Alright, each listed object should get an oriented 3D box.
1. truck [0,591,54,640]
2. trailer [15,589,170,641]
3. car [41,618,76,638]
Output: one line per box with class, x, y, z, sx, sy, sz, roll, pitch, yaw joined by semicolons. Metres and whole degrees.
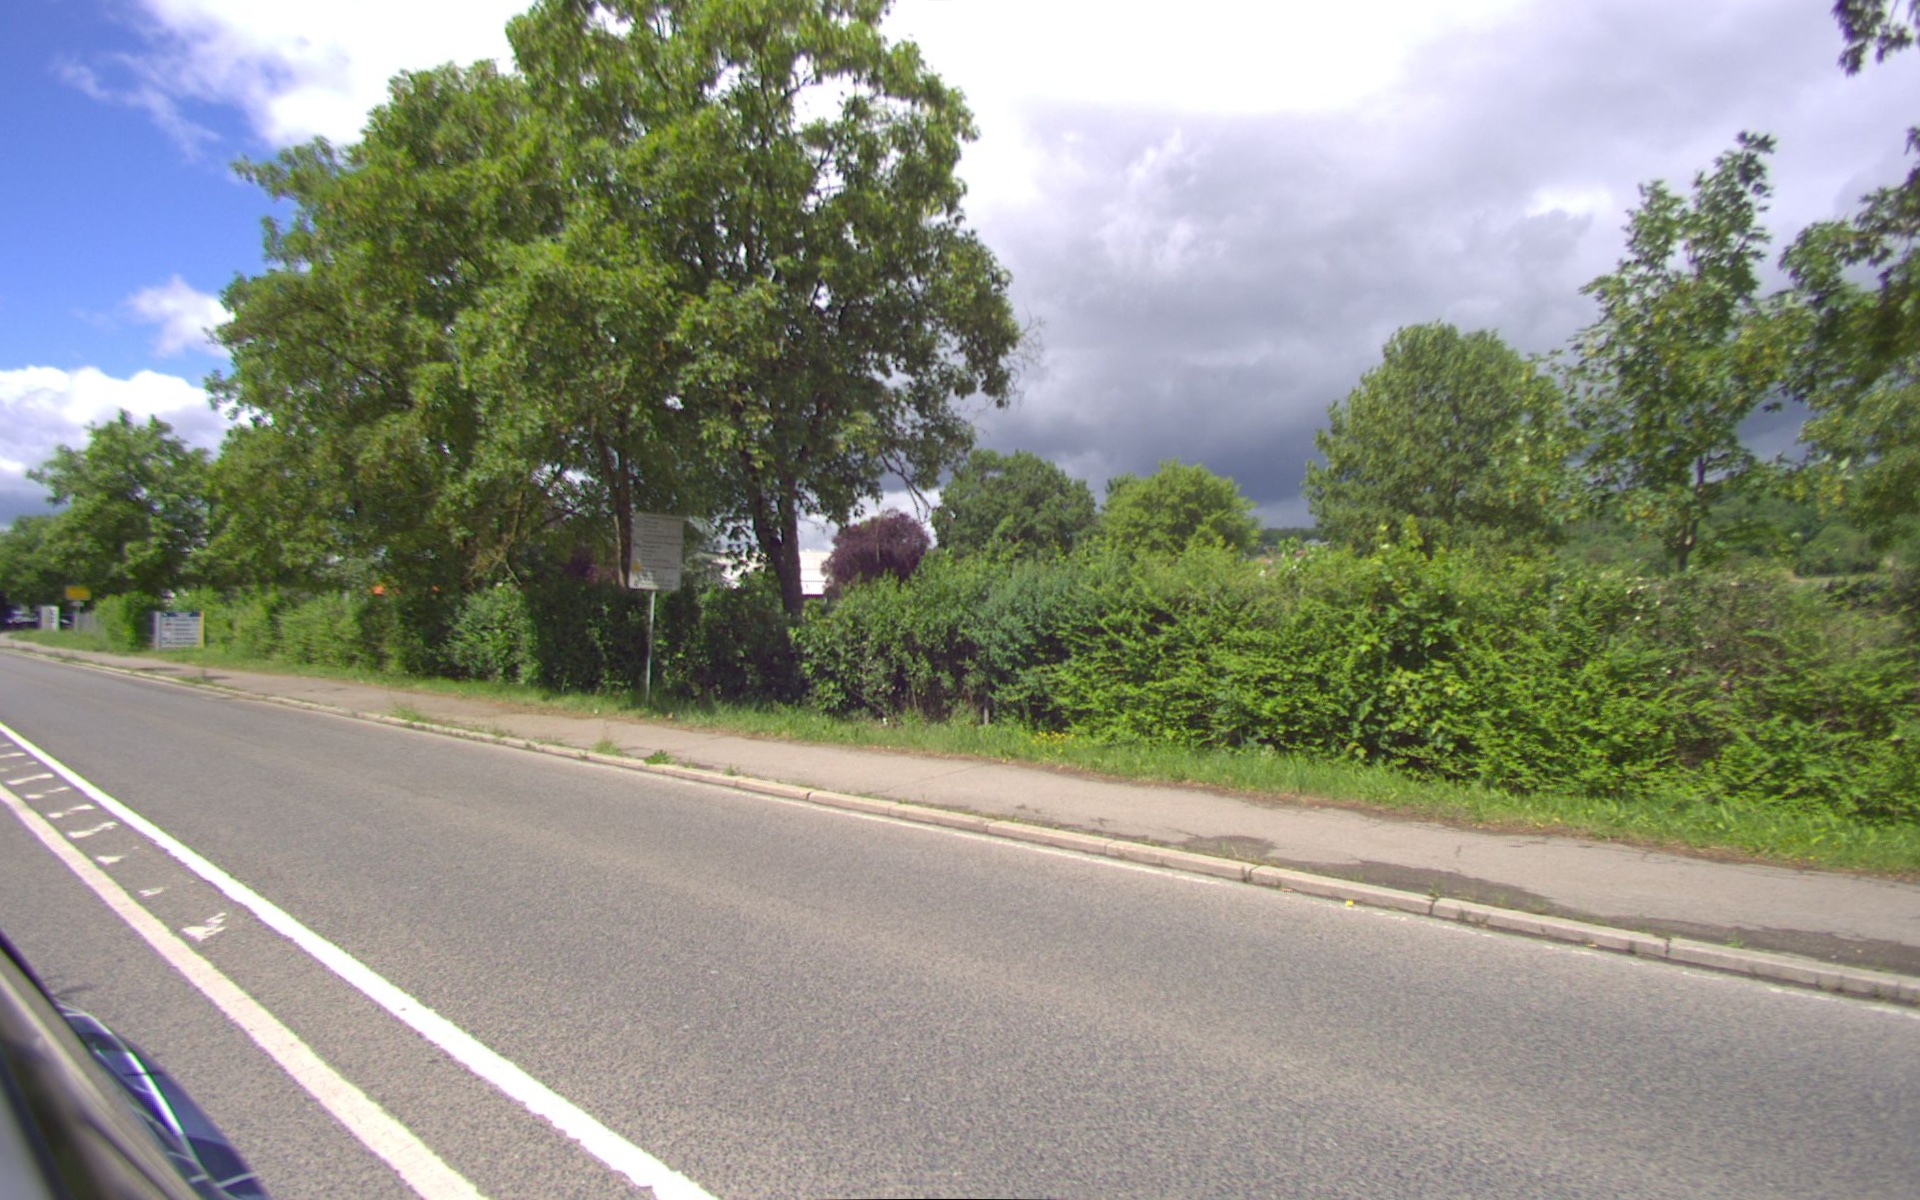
truck;-75.666;1.240;80.042;2.979;3.853;5.503;-1;-2;37
trailer;-72.784;1.296;85.220;3.301;4.114;9.384;0;-1;26
car;-78.898;2.429;88.562;4.600;1.734;1.909;-1;-1;43
